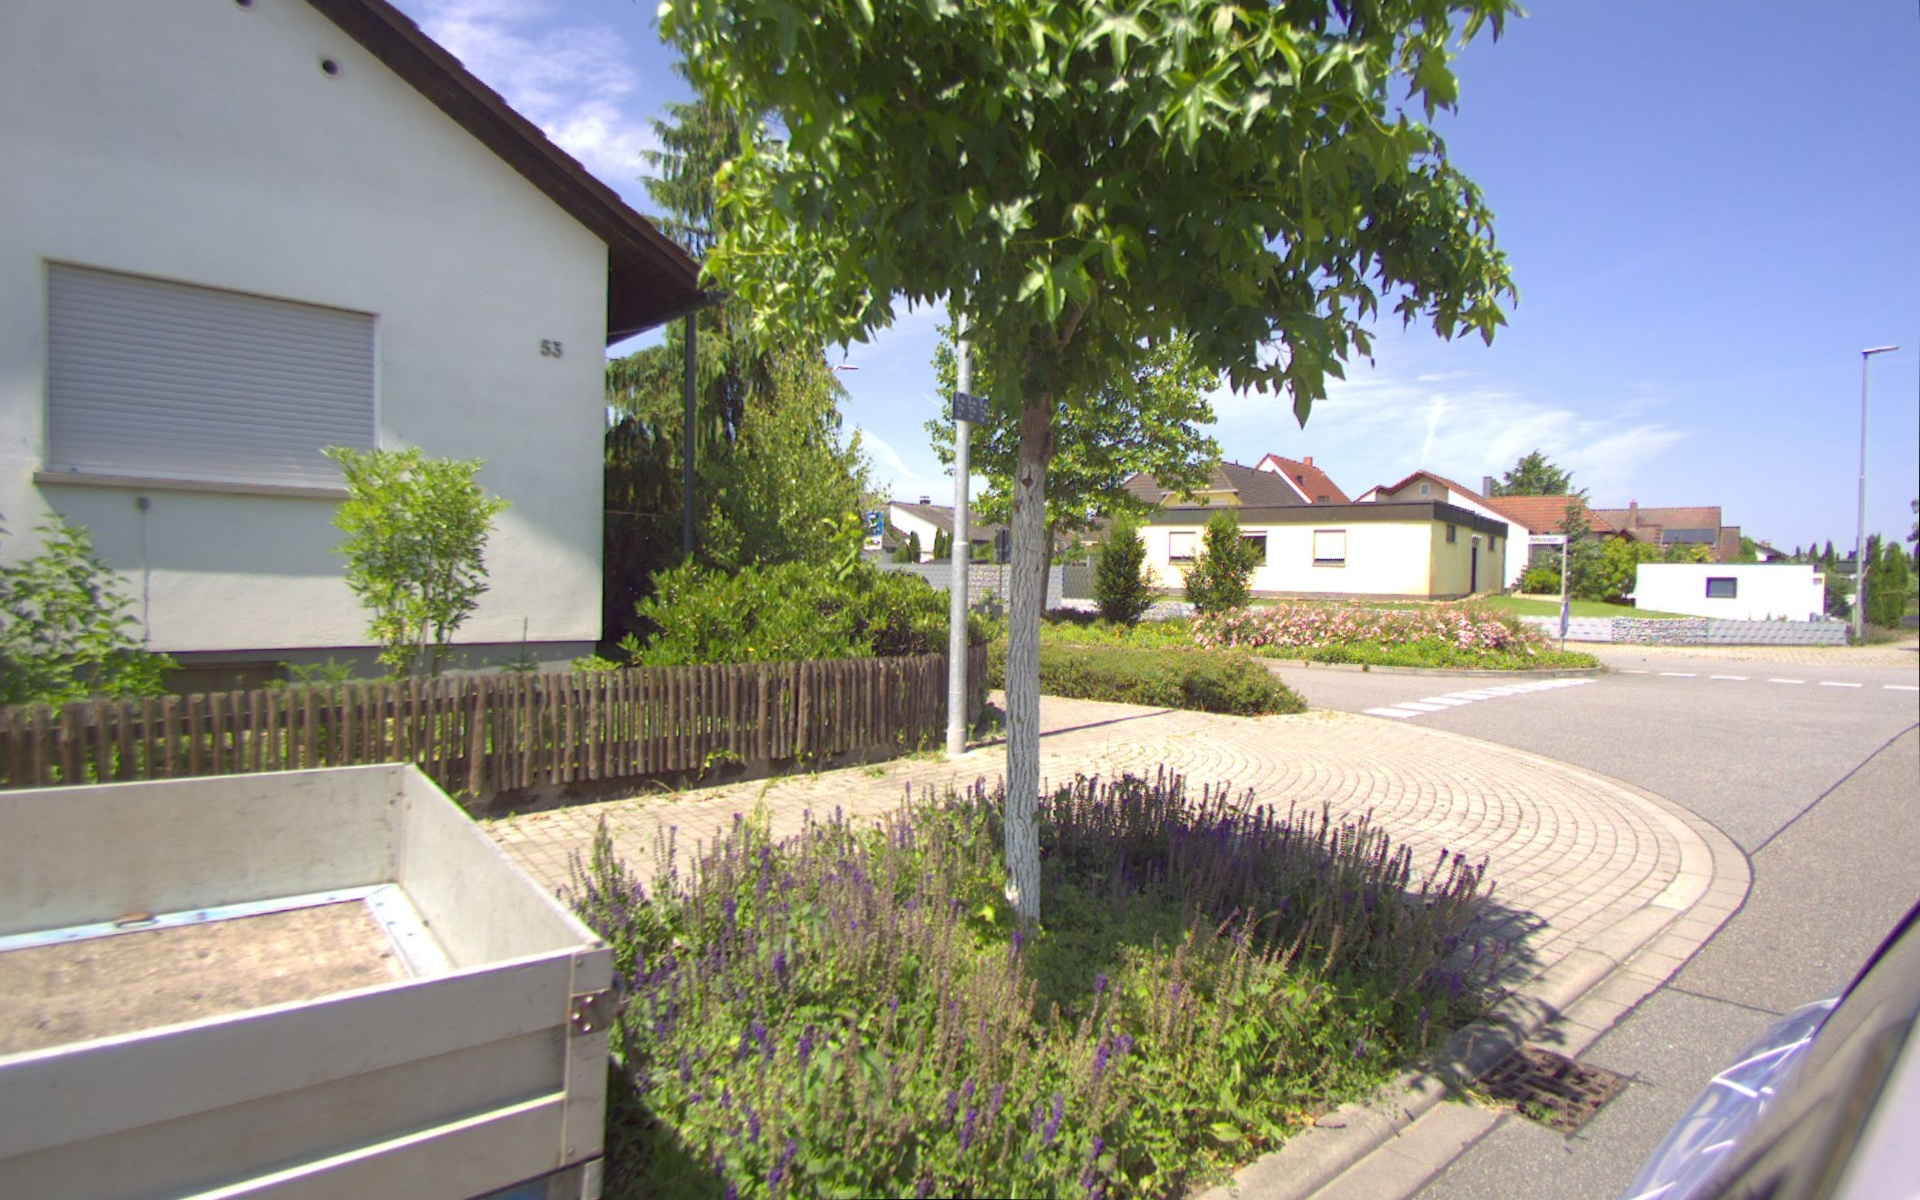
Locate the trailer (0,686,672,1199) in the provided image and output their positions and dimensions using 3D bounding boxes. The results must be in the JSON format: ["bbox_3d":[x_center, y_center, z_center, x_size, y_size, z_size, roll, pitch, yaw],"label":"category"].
[{"bbox_3d":[-2.122,0.826,1.394,2.847,1.071,1.792,0,2,-40],"label":"trailer"}]

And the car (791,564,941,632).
[{"bbox_3d":[-2.591,-0.093,28.895,1.638,1.763,4.388,2,2,40],"label":"car"}]
